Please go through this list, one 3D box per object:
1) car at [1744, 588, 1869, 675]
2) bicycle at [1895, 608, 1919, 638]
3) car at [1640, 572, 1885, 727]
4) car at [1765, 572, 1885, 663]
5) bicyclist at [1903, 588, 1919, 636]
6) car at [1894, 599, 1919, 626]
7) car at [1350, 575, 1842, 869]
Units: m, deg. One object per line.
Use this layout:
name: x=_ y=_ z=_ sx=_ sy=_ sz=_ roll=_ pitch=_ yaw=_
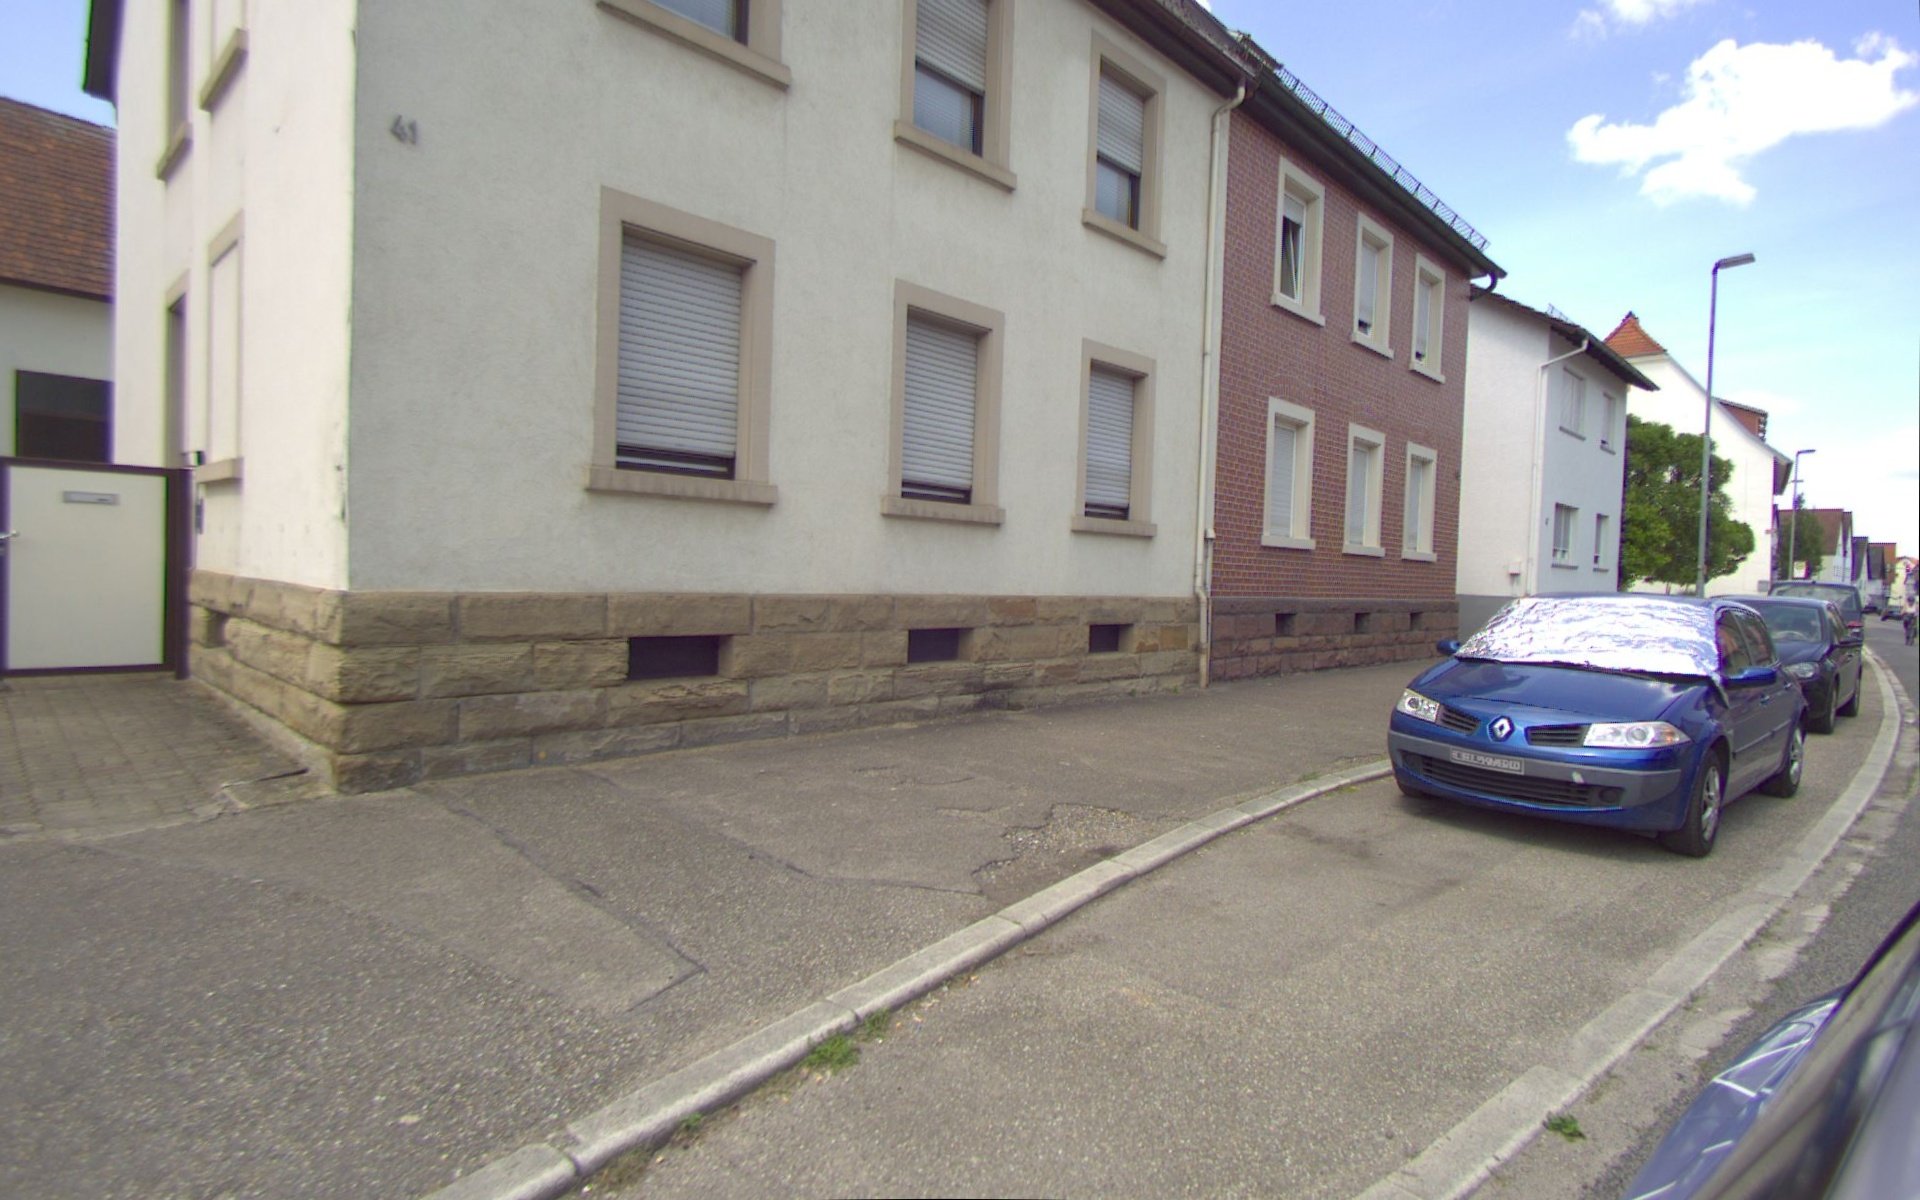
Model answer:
car: x=17.206 y=0.553 z=20.537 sx=1.738 sy=1.522 sz=4.490 roll=3 pitch=2 yaw=41
bicycle: x=34.491 y=0.844 z=36.247 sx=1.885 sy=1.024 sz=0.935 roll=2 pitch=0 yaw=-29
car: x=9.847 y=0.554 z=12.313 sx=3.932 sy=1.549 sz=1.770 roll=3 pitch=0 yaw=-44
car: x=20.709 y=0.315 z=24.146 sx=1.925 sy=1.939 sz=5.164 roll=1 pitch=2 yaw=43
bicyclist: x=34.519 y=0.426 z=36.247 sx=0.746 sy=1.709 sz=0.911 roll=-1 pitch=1 yaw=-28
car: x=78.142 y=1.017 z=83.046 sx=3.936 sy=2.039 sz=1.995 roll=-1 pitch=2 yaw=-45
car: x=4.509 y=0.561 z=6.949 sx=3.930 sy=1.402 sz=1.727 roll=-1 pitch=3 yaw=-40
